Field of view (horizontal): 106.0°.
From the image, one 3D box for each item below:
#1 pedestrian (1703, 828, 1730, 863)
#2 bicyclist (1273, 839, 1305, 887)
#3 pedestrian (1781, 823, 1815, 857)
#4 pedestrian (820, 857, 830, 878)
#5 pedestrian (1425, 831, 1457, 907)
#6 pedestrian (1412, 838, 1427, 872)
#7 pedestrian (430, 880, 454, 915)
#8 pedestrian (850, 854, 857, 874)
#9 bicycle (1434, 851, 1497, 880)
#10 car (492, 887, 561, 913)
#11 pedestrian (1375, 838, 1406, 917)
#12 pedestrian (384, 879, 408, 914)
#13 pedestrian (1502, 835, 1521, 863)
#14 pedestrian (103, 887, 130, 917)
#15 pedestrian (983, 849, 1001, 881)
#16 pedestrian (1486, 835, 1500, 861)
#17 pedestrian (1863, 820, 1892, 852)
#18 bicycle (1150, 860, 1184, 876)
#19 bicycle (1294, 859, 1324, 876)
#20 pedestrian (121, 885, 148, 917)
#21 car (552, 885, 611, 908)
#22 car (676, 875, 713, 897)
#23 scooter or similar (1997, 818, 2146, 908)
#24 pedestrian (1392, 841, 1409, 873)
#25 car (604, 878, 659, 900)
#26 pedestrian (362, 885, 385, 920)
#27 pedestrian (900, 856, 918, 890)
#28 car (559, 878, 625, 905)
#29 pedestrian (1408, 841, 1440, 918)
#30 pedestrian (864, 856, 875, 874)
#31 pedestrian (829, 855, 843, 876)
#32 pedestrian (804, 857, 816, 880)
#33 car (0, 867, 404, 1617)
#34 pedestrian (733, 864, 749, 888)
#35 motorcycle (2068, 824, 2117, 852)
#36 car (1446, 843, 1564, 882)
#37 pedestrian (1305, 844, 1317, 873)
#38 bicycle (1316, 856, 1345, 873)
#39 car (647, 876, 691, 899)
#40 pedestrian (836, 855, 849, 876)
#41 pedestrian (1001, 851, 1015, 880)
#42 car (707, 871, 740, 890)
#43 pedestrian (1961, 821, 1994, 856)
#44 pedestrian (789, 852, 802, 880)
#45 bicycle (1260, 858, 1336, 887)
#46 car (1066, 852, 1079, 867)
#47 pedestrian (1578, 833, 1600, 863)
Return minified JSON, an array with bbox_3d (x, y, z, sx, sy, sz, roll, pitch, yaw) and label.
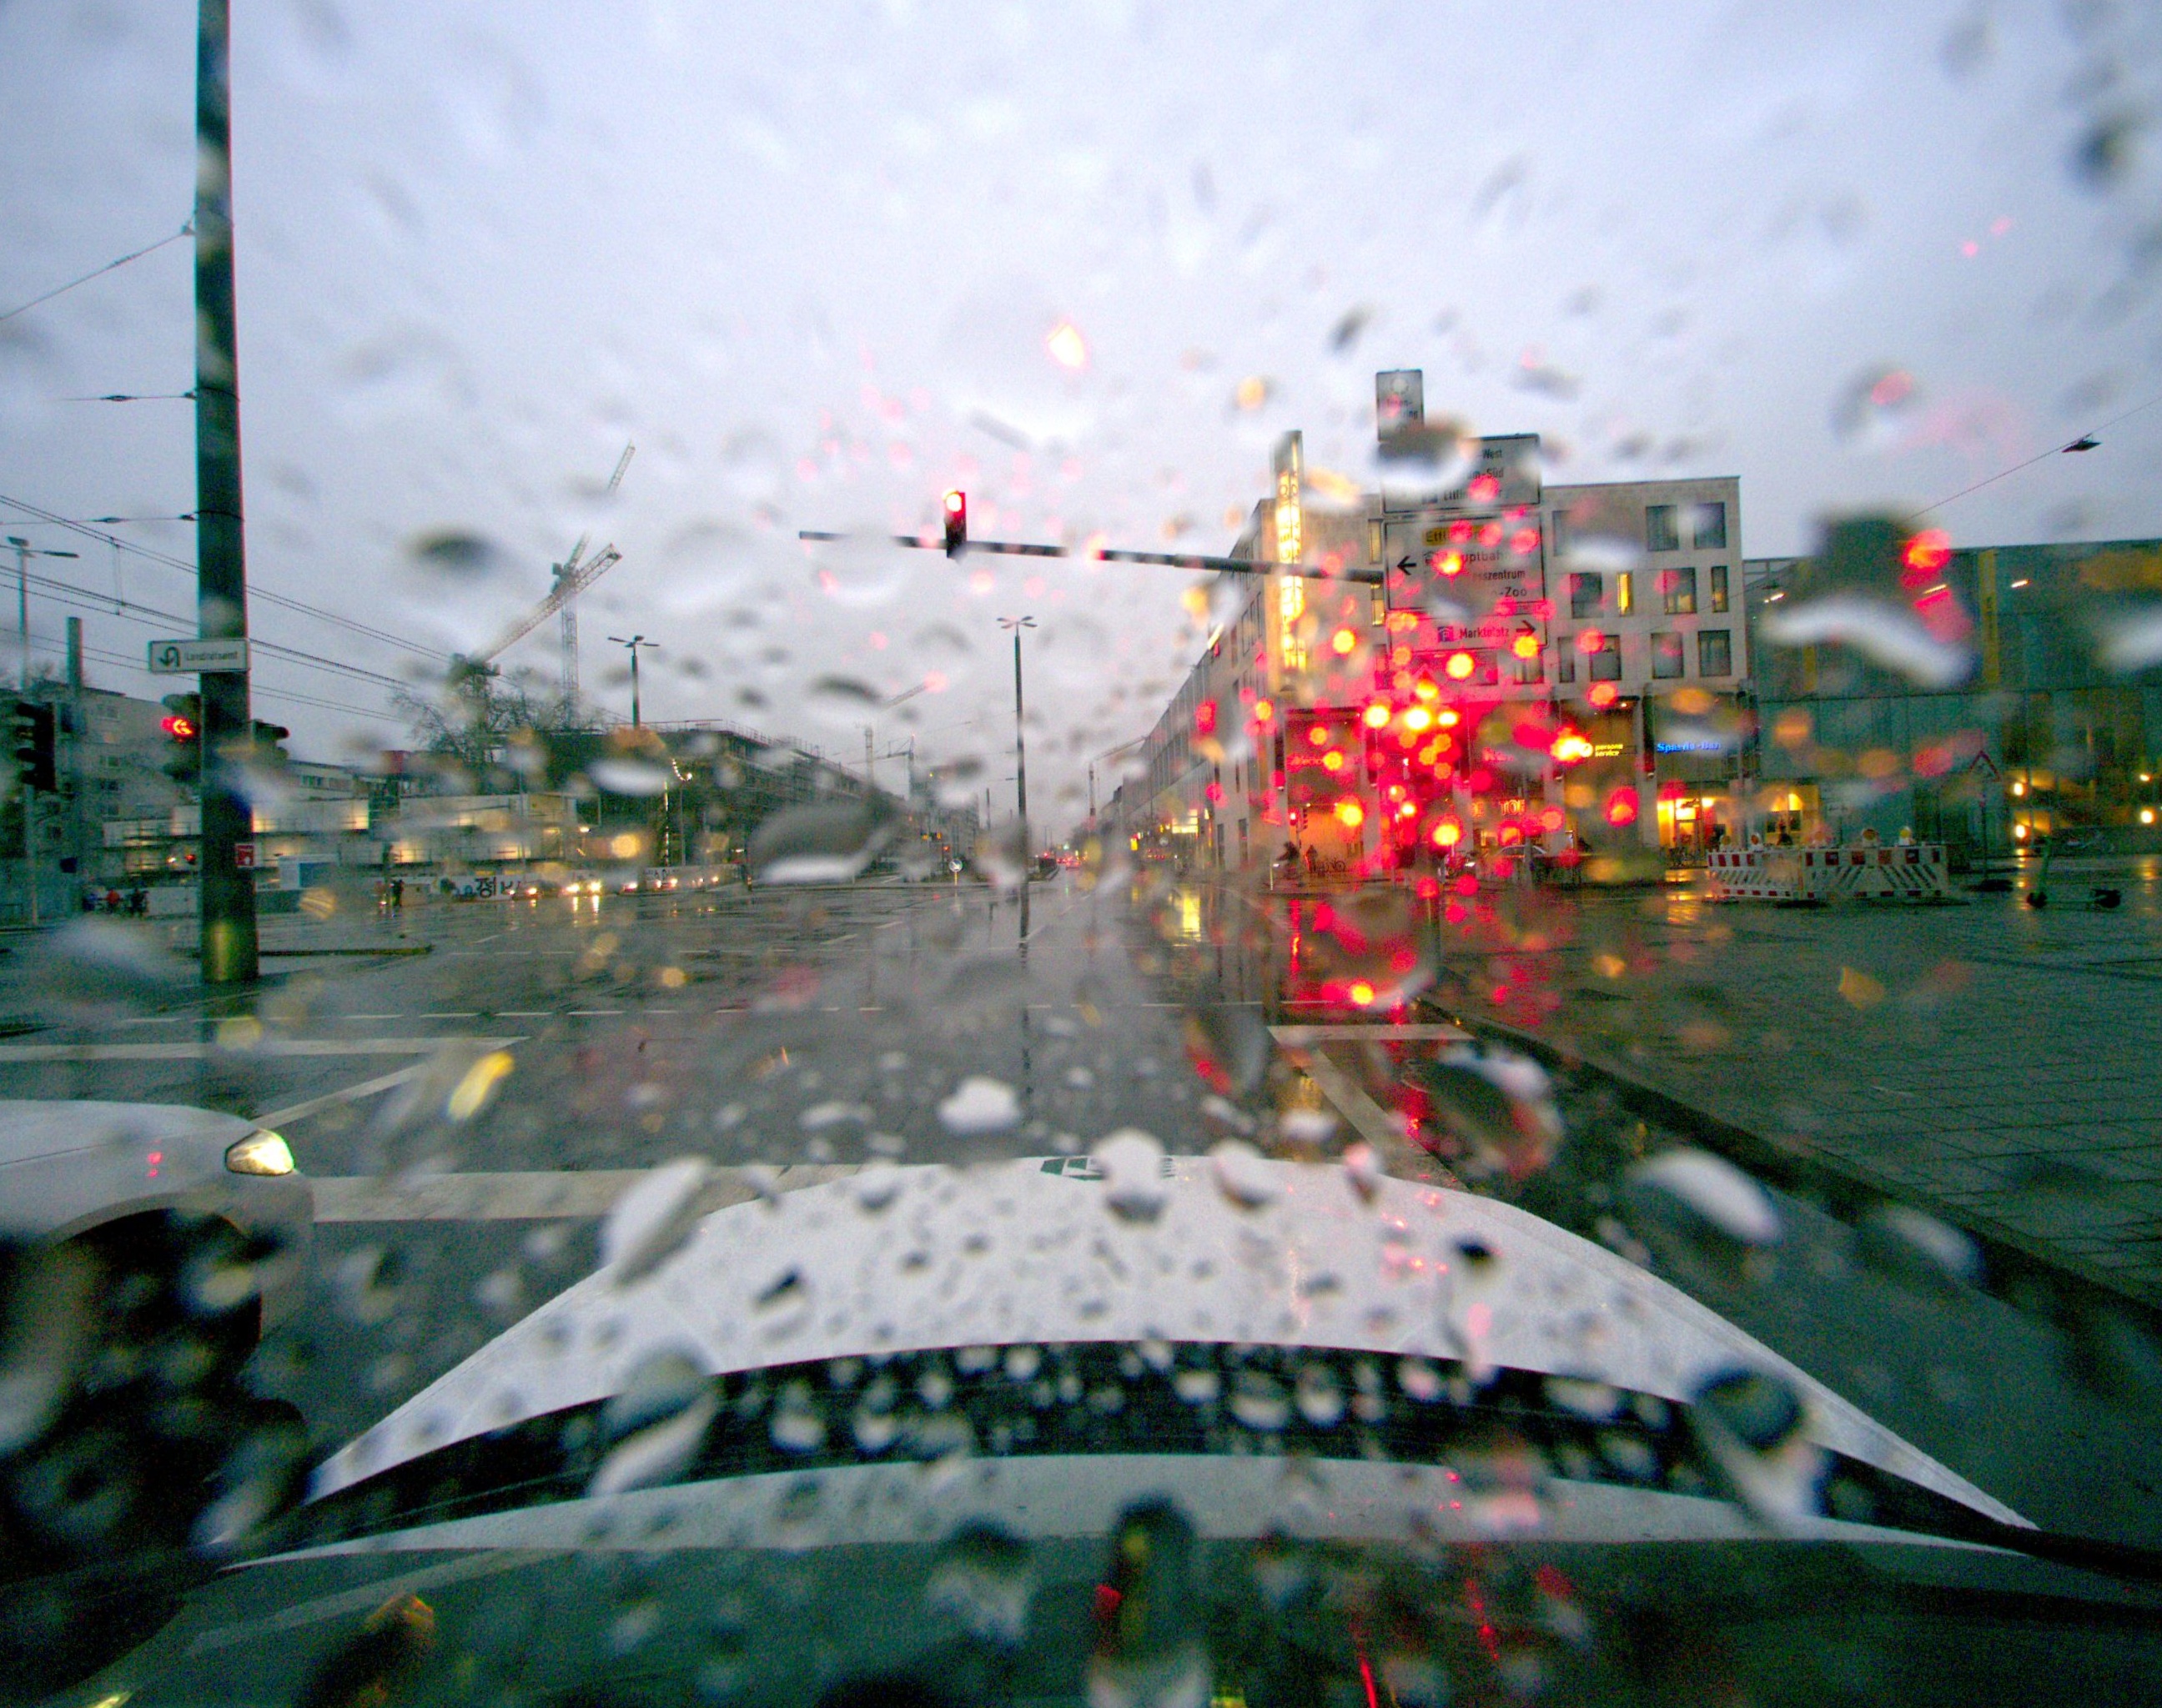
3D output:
[{"bbox_3d":[31.678,-0.415,40.582,0.737,1.684,0.783,0,-1,8],"label":"pedestrian"},{"bbox_3d":[8.209,0.340,32.171,1.149,1.871,0.747,-1,-1,8],"label":"bicyclist"},{"bbox_3d":[36.590,-0.698,41.564,1.026,1.684,0.824,0,-1,1],"label":"pedestrian"},{"bbox_3d":[-22.616,1.181,71.849,0.696,1.881,0.553,0,-1,1],"label":"pedestrian"},{"bbox_3d":[11.828,0.488,26.773,0.691,2.448,0.792,0,-1,1],"label":"pedestrian"},{"bbox_3d":[20.632,0.049,49.635,0.785,2.014,0.595,-3,-1,21],"label":"pedestrian"},{"bbox_3d":[-39.938,2.722,50.890,0.872,2.165,0.763,0,-1,-7],"label":"pedestrian"},{"bbox_3d":[-22.792,1.013,81.610,0.569,1.968,0.664,1,-1,-4],"label":"pedestrian"},{"bbox_3d":[19.254,0.577,40.790,2.705,1.359,0.957,-2,-1,-2],"label":"bicycle"},{"bbox_3d":[-38.608,3.172,56.821,1.986,1.530,4.001,-2,0,2],"label":"car"},{"bbox_3d":[9.792,0.739,25.784,0.712,2.441,0.758,0,-1,1],"label":"pedestrian"},{"bbox_3d":[-41.082,2.544,48.852,0.781,2.014,0.748,0,-1,6],"label":"pedestrian"},{"bbox_3d":[25.983,-0.304,49.158,0.737,1.684,0.783,0,-1,8],"label":"pedestrian"},{"bbox_3d":[-58.977,2.958,49.820,0.786,1.776,0.726,-2,-1,8],"label":"pedestrian"},{"bbox_3d":[-5.125,0.632,46.834,0.826,1.831,0.778,0,-1,-29],"label":"pedestrian"},{"bbox_3d":[28.021,-0.397,55.402,0.728,1.718,0.743,-3,-1,29],"label":"pedestrian"},{"bbox_3d":[43.371,-0.973,44.351,0.782,1.739,0.779,-3,-1,17],"label":"pedestrian"},{"bbox_3d":[6.481,1.066,61.456,2.434,1.154,0.674,-2,-1,0],"label":"bicycle"},{"bbox_3d":[14.029,0.841,50.132,1.756,1.070,0.526,-1,-1,9],"label":"bicycle"},{"bbox_3d":[-58.972,2.924,50.761,0.788,1.902,0.717,-2,-1,0],"label":"pedestrian"},{"bbox_3d":[-38.932,3.296,63.638,1.986,1.530,4.001,-2,0,2],"label":"car"},{"bbox_3d":[-34.946,2.874,73.669,1.994,1.790,3.986,0,-1,-10],"label":"car"},{"bbox_3d":[15.785,0.125,13.033,0.590,1.352,1.495,0,0,2],"label":"scooter or similar"},{"bbox_3d":[20.626,0.208,52.620,0.841,2.013,0.700,-2,0,10],"label":"pedestrian"},{"bbox_3d":[-34.238,2.641,62.233,2.074,1.530,4.603,-2,0,-8],"label":"car"},{"bbox_3d":[-41.965,2.870,48.287,0.856,2.014,0.628,-1,-1,11],"label":"pedestrian"},{"bbox_3d":[-10.115,1.111,47.924,0.776,2.014,0.732,-1,-1,44],"label":"pedestrian"},{"bbox_3d":[-33.672,2.561,56.218,1.986,1.657,4.001,-2,0,2],"label":"car"},{"bbox_3d":[11.024,0.821,26.192,0.687,2.441,0.758,0,-1,1],"label":"pedestrian"},{"bbox_3d":[-23.902,1.214,91.896,0.939,2.014,1.094,0,-1,0],"label":"pedestrian"},{"bbox_3d":[-23.305,1.093,77.450,0.939,2.014,1.094,0,-1,0],"label":"pedestrian"},{"bbox_3d":[-23.138,1.237,69.496,0.762,1.898,0.763,0,-2,1],"label":"pedestrian"},{"bbox_3d":[-3.216,0.812,0.300,2.010,1.487,4.561,-2,0,1],"label":"car"},{"bbox_3d":[-20.062,1.266,48.057,0.734,1.388,0.716,0,-1,-40],"label":"pedestrian"},{"bbox_3d":[48.333,-0.759,38.919,1.482,1.352,0.595,0,0,5],"label":"motorcycle"},{"bbox_3d":[17.918,0.359,34.570,3.970,1.618,2.001,0,-1,3],"label":"car"},{"bbox_3d":[13.984,0.267,49.488,0.596,1.745,0.526,-1,-1,10],"label":"pedestrian"},{"bbox_3d":[15.488,0.654,50.591,1.642,1.070,0.524,0,-1,-2],"label":"bicycle"},{"bbox_3d":[-34.610,2.807,68.530,1.862,1.828,3.993,0,-1,-5],"label":"car"},{"bbox_3d":[-23.185,1.106,79.161,0.939,2.014,1.094,0,-1,0],"label":"pedestrian"},{"bbox_3d":[-4.346,0.689,48.282,0.605,1.686,0.581,-1,-1,44],"label":"pedestrian"},{"bbox_3d":[-35.109,2.601,80.084,1.994,1.790,3.986,0,-1,-10],"label":"car"},{"bbox_3d":[43.901,-0.772,39.869,0.737,1.684,0.783,0,-1,8],"label":"pedestrian"},{"bbox_3d":[-24.347,1.019,69.427,0.762,2.323,0.763,0,-2,1],"label":"pedestrian"},{"bbox_3d":[8.523,0.724,32.113,2.839,1.099,0.747,0,-1,9],"label":"bicycle"},{"bbox_3d":[-1.106,0.728,109.156,1.572,2.013,3.170,-2,0,0],"label":"car"},{"bbox_3d":[29.377,-0.347,47.097,0.890,1.684,0.528,-2,-1,1],"label":"pedestrian"}]
